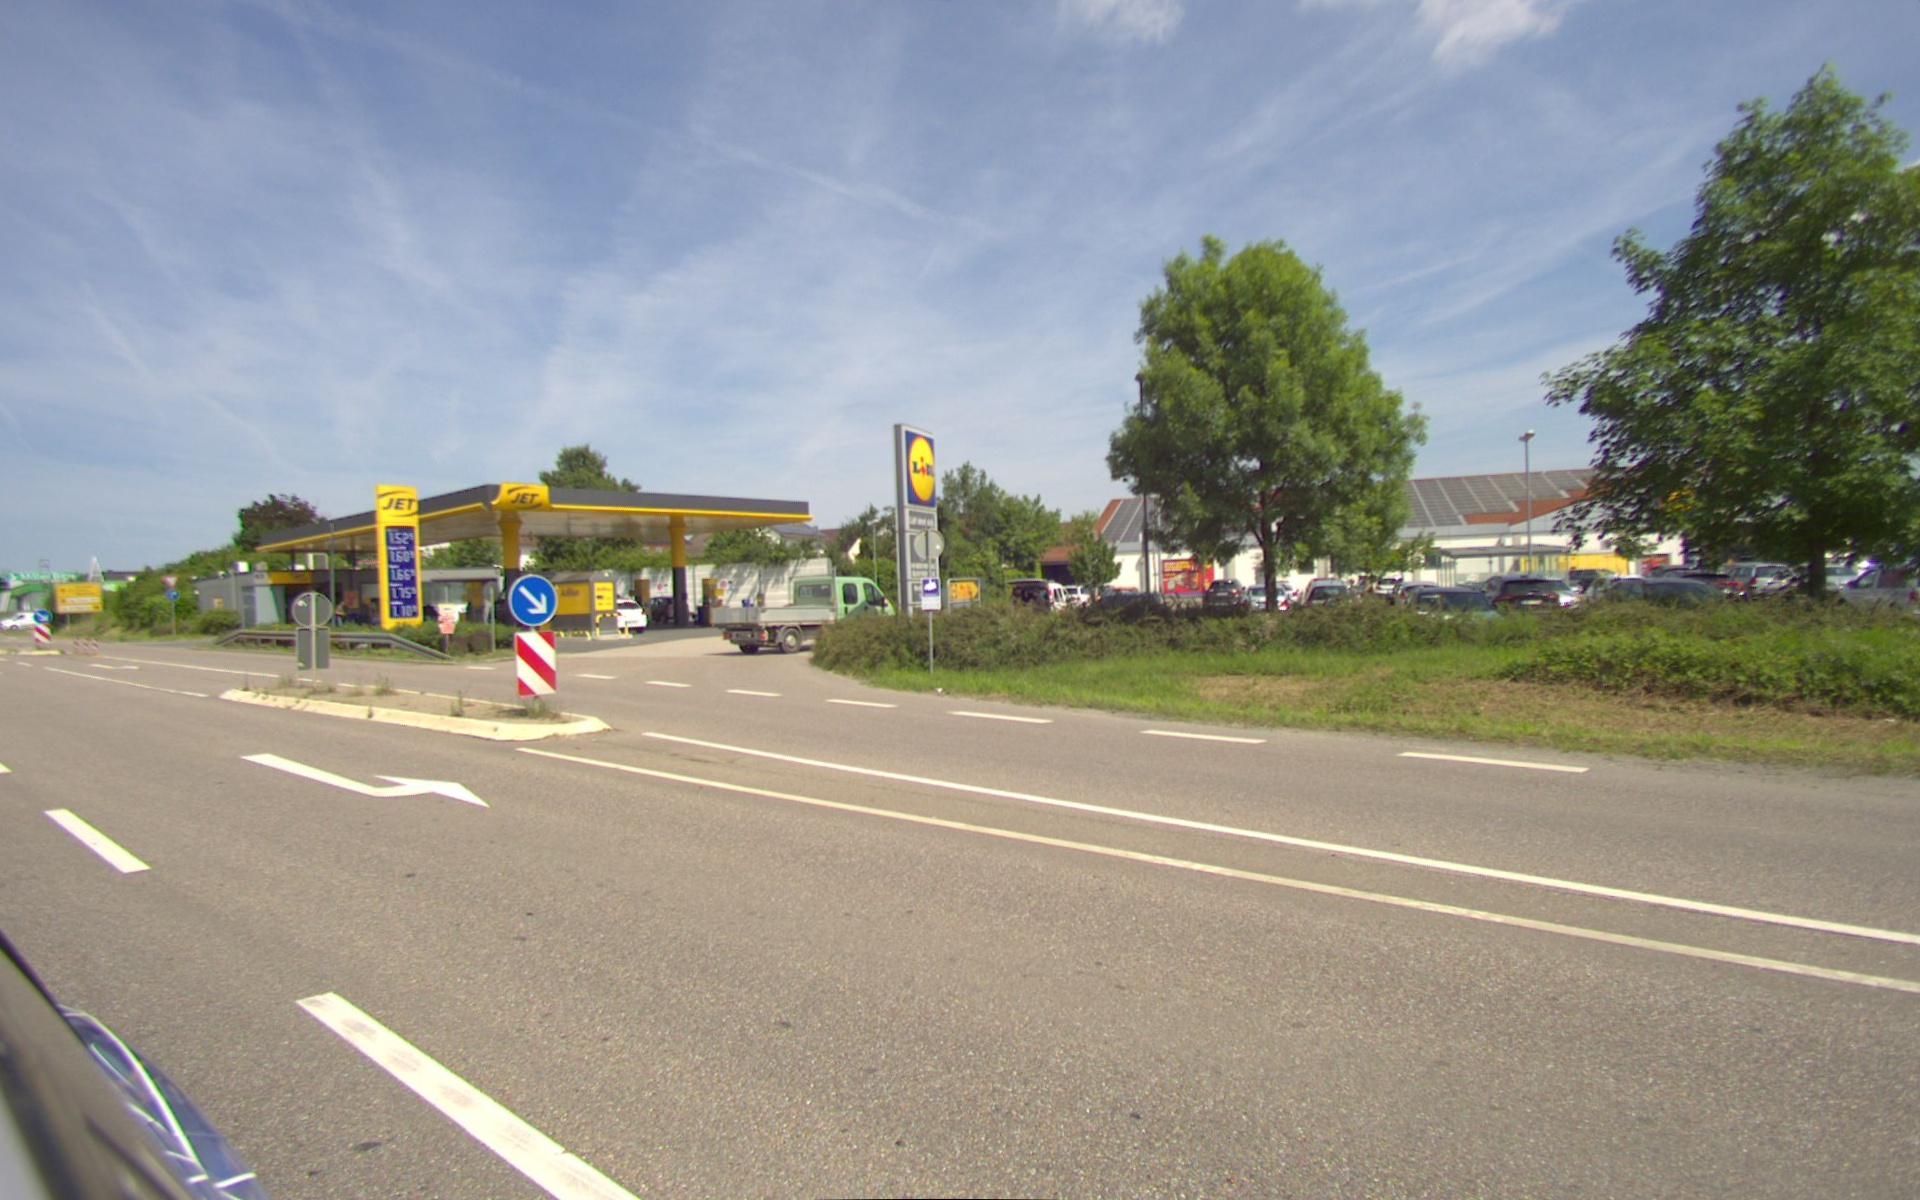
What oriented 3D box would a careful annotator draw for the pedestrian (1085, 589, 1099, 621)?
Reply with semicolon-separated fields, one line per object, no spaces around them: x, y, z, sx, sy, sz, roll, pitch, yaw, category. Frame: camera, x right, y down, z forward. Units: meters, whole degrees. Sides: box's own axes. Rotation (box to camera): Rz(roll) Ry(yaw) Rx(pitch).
6.521;0.228;50.035;0.504;1.564;0.511;-1;0;33;pedestrian

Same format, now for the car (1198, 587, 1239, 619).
12.878;0.112;50.301;1.868;1.453;3.981;-1;1;15;car

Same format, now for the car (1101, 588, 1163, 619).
8.932;0.174;52.340;1.879;1.453;3.958;-1;1;31;car

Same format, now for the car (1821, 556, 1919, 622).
26.540;-0.307;28.282;1.981;1.708;4.408;-1;0;14;car

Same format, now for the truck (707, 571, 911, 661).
-4.338;0.387;30.386;2.245;2.393;6.272;-2;0;37;truck

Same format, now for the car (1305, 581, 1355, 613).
17.956;-0.184;49.253;1.868;1.453;3.981;-1;1;15;car

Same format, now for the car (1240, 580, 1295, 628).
11.700;0.127;38.497;1.850;1.688;4.398;-2;0;18;car

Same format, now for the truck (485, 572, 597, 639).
-19.711;0.240;47.462;6.279;2.944;2.222;-1;0;40;truck

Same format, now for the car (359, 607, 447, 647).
-25.331;1.245;45.999;4.258;1.719;1.975;-2;-1;38;car

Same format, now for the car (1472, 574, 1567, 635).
16.997;0.087;30.933;1.898;1.687;3.973;-1;1;20;car

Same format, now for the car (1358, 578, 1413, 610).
20.359;-0.306;48.547;1.868;1.453;3.981;-1;1;15;car

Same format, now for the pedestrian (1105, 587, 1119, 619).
7.560;0.159;50.380;0.504;1.564;0.512;-1;0;29;pedestrian

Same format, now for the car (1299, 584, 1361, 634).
12.226;0.256;33.613;1.769;1.513;4.122;-2;1;19;car

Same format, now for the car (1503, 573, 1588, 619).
20.682;-0.143;35.911;1.764;1.540;3.977;-1;0;18;car

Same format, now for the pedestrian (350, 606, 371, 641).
-32.365;1.258;54.667;0.639;1.852;0.788;-2;0;41;pedestrian

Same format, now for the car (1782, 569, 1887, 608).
36.293;-0.462;42.130;1.865;1.553;4.230;-1;0;20;car

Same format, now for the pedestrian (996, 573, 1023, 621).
1.692;-0.104;34.447;0.801;1.587;0.701;-1;0;14;pedestrian

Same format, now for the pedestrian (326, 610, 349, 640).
-30.175;1.208;49.038;0.900;1.438;0.495;-1;0;-38;pedestrian

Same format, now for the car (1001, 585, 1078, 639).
2.948;0.401;36.775;1.865;1.825;4.144;-2;0;18;car

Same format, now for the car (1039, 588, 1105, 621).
5.841;0.207;52.544;1.765;1.551;3.955;-3;0;33;car

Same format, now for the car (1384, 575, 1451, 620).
16.629;-0.098;36.932;1.764;1.540;3.977;-1;0;18;car

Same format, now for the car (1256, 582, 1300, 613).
15.722;-0.152;50.230;1.868;1.453;3.981;-1;1;15;car

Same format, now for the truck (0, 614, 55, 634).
-110.091;2.817;119.383;1.997;2.024;4.715;-1;1;37;truck

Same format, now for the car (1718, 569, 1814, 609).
33.880;-0.452;42.685;1.865;1.553;4.230;-1;0;20;car

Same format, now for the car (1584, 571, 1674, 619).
22.934;-0.167;34.827;1.767;1.540;3.971;-1;0;21;car

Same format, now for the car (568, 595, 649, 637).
-15.380;0.745;44.205;4.001;1.741;1.713;-2;-3;44;car

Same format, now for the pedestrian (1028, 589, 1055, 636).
2.774;0.426;34.305;0.801;1.587;0.701;-1;0;14;pedestrian

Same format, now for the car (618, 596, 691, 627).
-16.891;0.644;55.901;3.862;1.625;1.735;-2;-1;31;car
